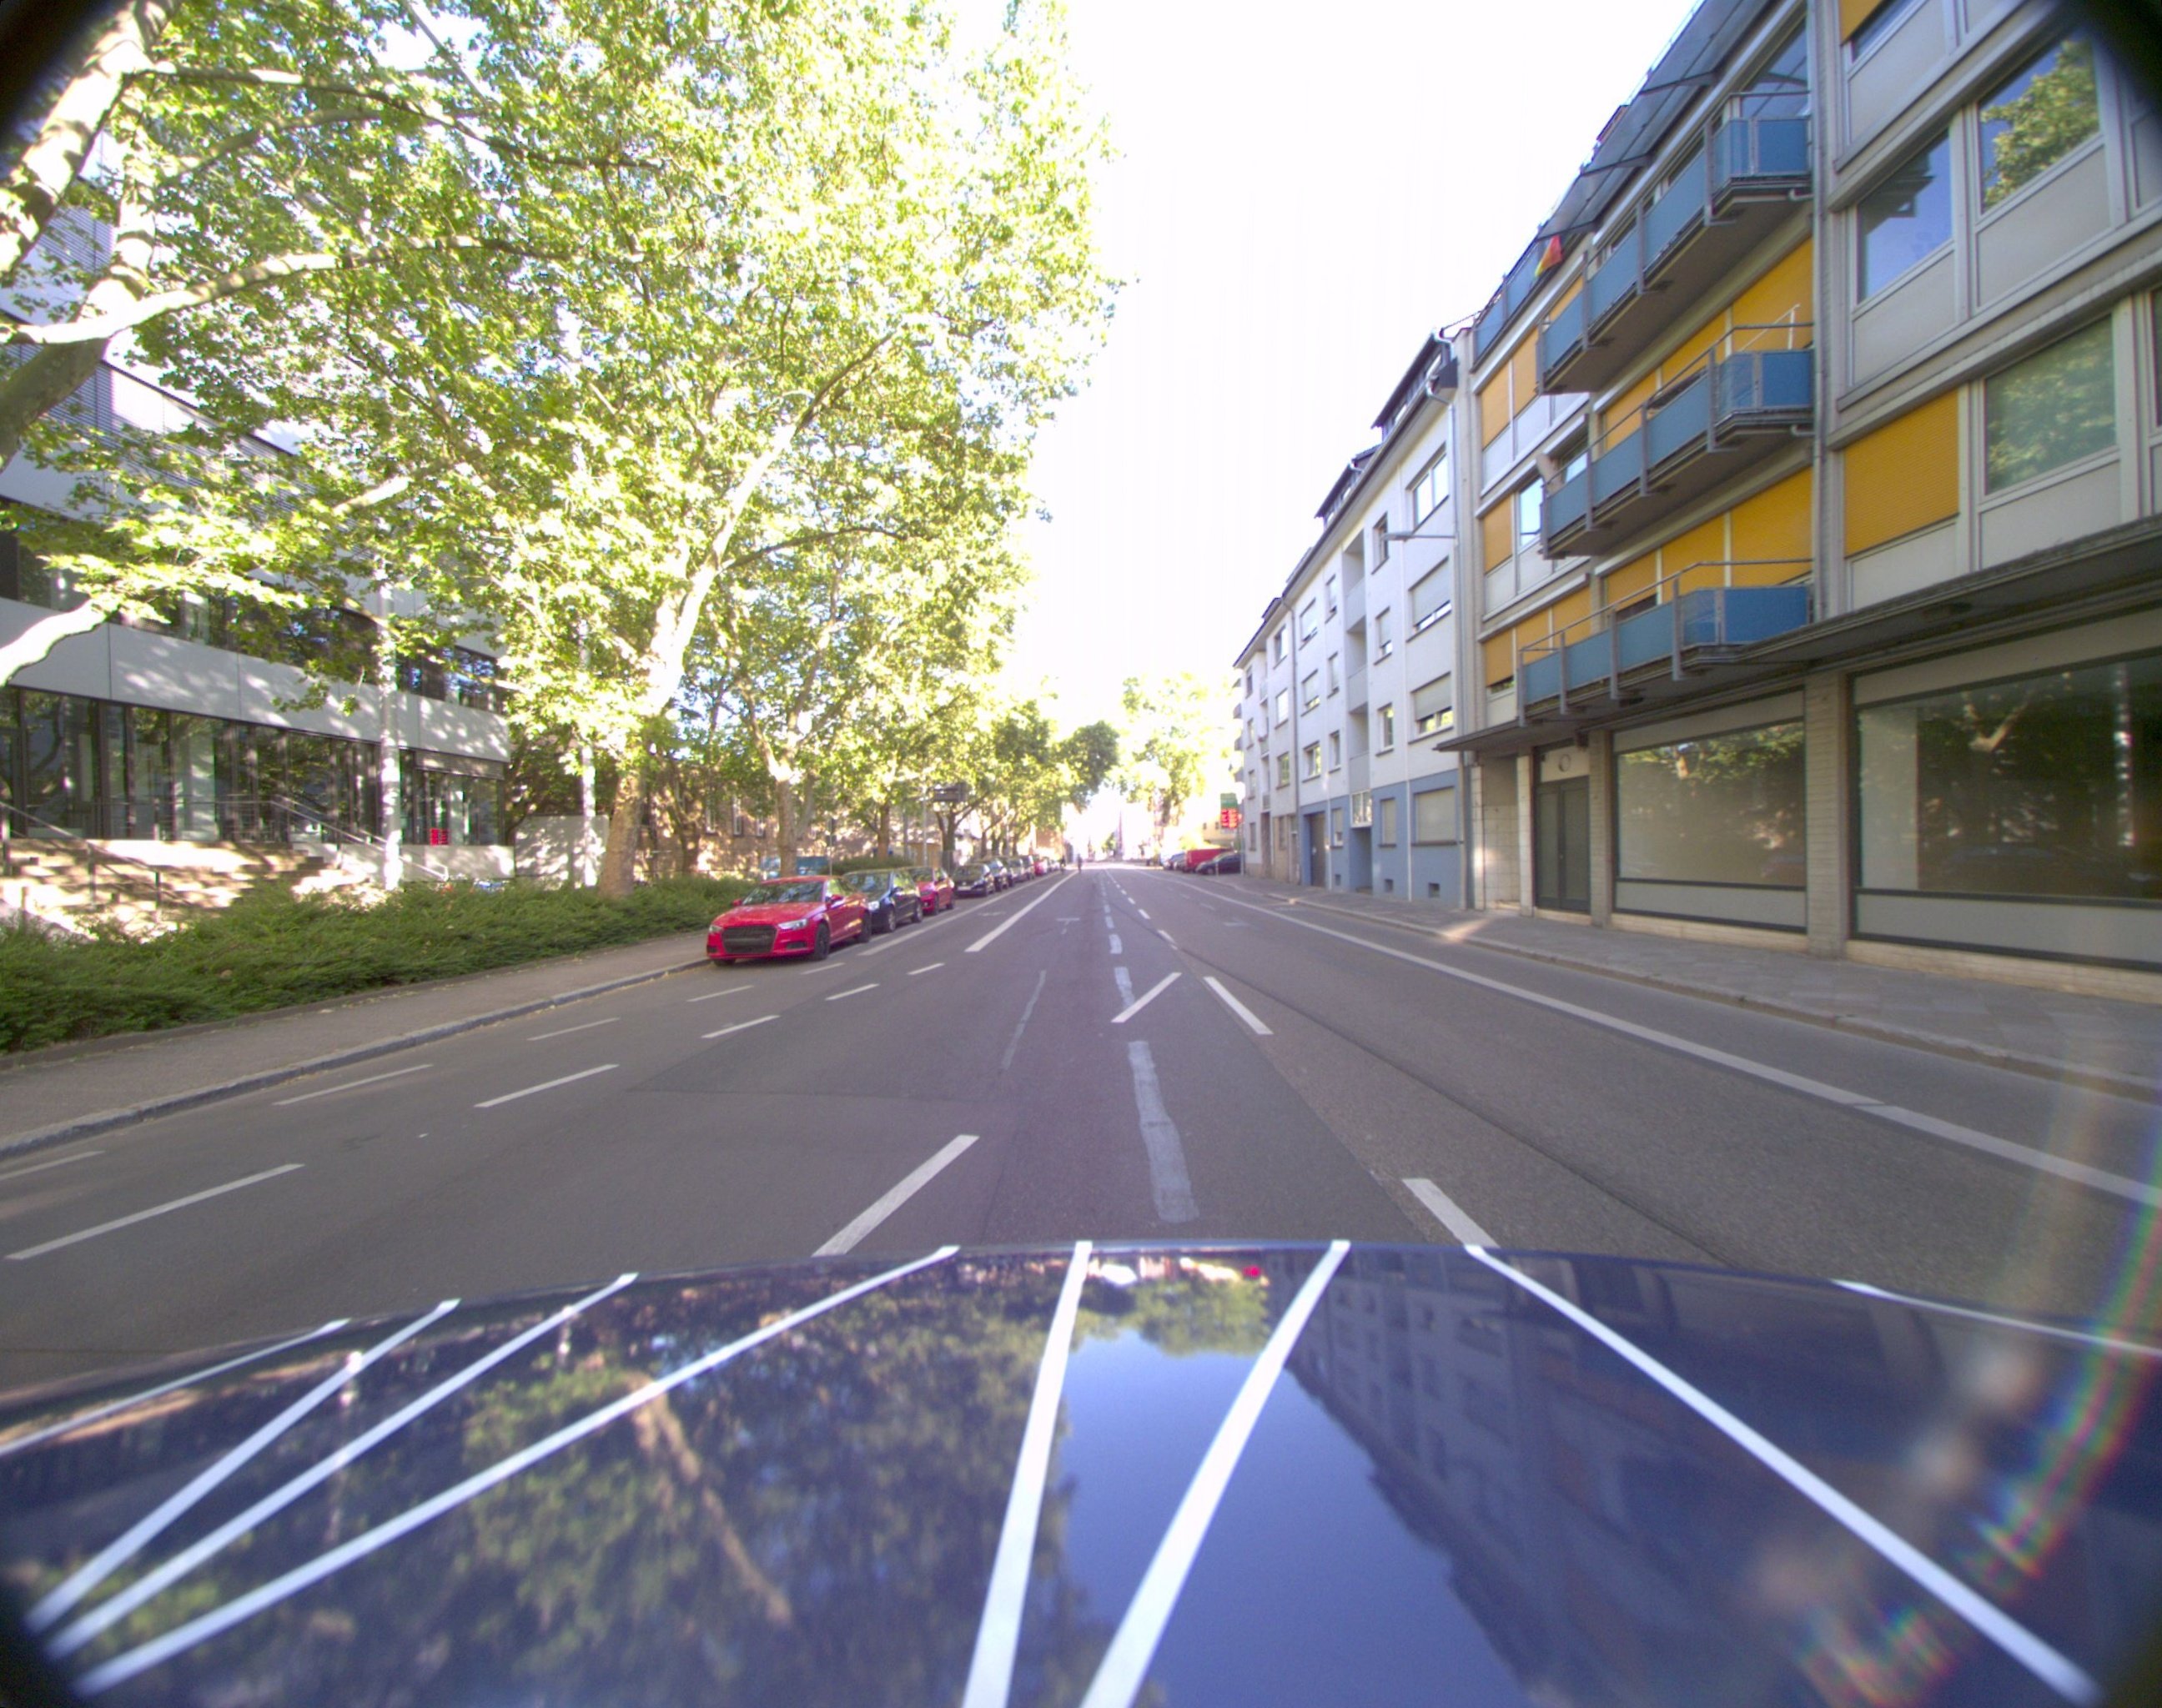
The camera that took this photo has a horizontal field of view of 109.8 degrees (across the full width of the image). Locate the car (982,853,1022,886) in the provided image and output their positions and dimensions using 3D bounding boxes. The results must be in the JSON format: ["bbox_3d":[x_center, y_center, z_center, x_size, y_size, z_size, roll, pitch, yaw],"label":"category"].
[{"bbox_3d":[-4.525,0.871,44.151,1.790,1.745,4.345,-3,0,0],"label":"car"}]

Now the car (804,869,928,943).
[{"bbox_3d":[-5.083,1.170,18.578,1.818,1.405,4.163,-3,0,0],"label":"car"}]

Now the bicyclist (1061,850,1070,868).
[{"bbox_3d":[-1.439,0.482,68.977,0.718,1.573,0.936,-2,1,1],"label":"bicyclist"}]

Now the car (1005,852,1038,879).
[{"bbox_3d":[-4.317,0.800,55.664,2.042,1.745,4.552,-3,0,0],"label":"car"}]

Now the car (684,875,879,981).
[{"bbox_3d":[-5.138,1.193,13.722,1.818,1.405,4.163,-3,0,0],"label":"car"}]

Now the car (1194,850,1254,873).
[{"bbox_3d":[10.254,0.547,54.797,3.996,1.449,1.761,-2,1,2],"label":"car"}]

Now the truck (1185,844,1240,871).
[{"bbox_3d":[10.367,0.247,59.993,3.996,1.925,1.761,-2,1,2],"label":"truck"}]

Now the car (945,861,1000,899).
[{"bbox_3d":[-4.703,1.079,33.388,1.790,1.451,4.163,-3,0,0],"label":"car"}]

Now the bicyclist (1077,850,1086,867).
[{"bbox_3d":[0.042,0.414,69.904,0.718,1.573,0.936,-2,1,1],"label":"bicyclist"}]

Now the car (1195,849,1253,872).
[{"bbox_3d":[10.728,0.480,57.144,3.996,1.494,1.761,-2,1,2],"label":"car"}]

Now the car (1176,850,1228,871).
[{"bbox_3d":[9.978,0.528,62.847,3.996,1.494,1.761,-2,1,2],"label":"car"}]

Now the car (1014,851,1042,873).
[{"bbox_3d":[-4.591,0.704,66.095,2.042,1.745,4.552,-3,0,0],"label":"car"}]

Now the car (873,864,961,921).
[{"bbox_3d":[-5.030,1.125,23.861,1.818,1.475,4.163,-3,0,0],"label":"car"}]

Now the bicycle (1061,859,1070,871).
[{"bbox_3d":[-1.420,0.973,69.058,0.717,1.052,2.485,-2,1,1],"label":"bicycle"}]

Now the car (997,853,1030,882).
[{"bbox_3d":[-4.446,0.855,50.706,1.790,1.745,4.552,-3,0,0],"label":"car"}]

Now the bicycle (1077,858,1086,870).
[{"bbox_3d":[0.065,0.906,69.969,0.717,1.052,2.485,-2,1,1],"label":"bicycle"}]

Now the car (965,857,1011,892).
[{"bbox_3d":[-4.601,0.980,38.134,1.790,1.544,4.163,-3,0,0],"label":"car"}]
